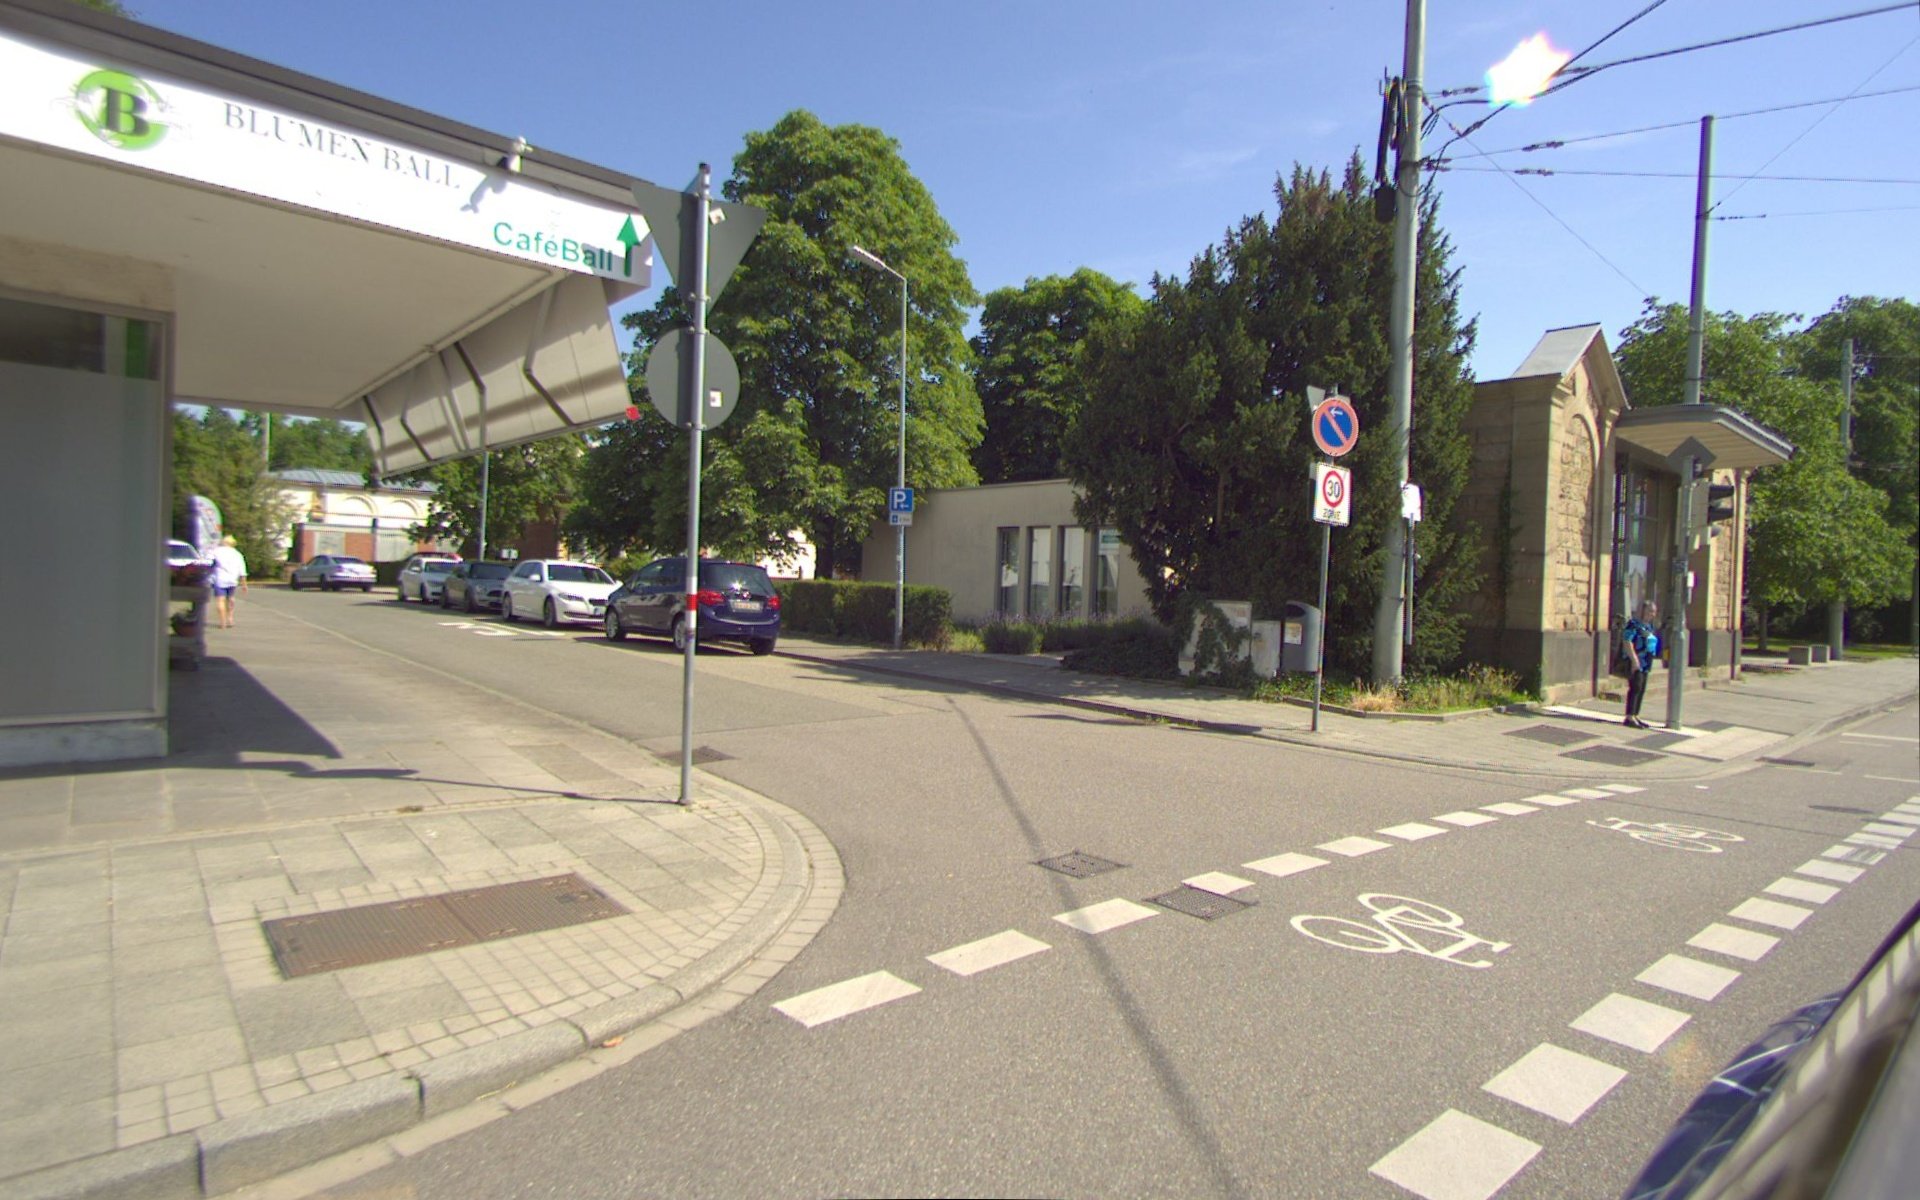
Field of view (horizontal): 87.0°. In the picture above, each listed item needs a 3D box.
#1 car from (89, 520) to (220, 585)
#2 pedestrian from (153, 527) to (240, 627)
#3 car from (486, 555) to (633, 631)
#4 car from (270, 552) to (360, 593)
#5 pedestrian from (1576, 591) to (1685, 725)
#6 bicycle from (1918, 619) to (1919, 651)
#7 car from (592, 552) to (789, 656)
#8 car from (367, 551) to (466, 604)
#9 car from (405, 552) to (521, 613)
[{"bbox_3d":[-27.497,-1.624,34.554,3.961,2.038,1.982,3,1,26],"label":"car"},{"bbox_3d":[-13.315,-0.391,17.648,0.959,1.670,1.018,3,0,43],"label":"pedestrian"},{"bbox_3d":[-8.875,-0.196,22.228,1.545,1.469,4.318,1,2,-42],"label":"car"},{"bbox_3d":[-25.222,-1.092,39.527,4.048,1.428,1.715,3,1,38],"label":"car"},{"bbox_3d":[8.161,0.678,12.324,0.842,1.529,0.782,2,1,-32],"label":"pedestrian"},{"bbox_3d":[34.313,1.240,35.513,1.771,1.125,0.538,1,2,-31],"label":"bicycle"},{"bbox_3d":[-4.816,0.024,17.812,1.705,1.587,3.722,4,0,-44],"label":"car"},{"bbox_3d":[-16.779,-0.714,31.157,1.709,1.469,4.062,1,2,-42],"label":"car"},{"bbox_3d":[-13.389,-0.494,27.158,1.709,1.469,4.062,1,2,-42],"label":"car"}]
